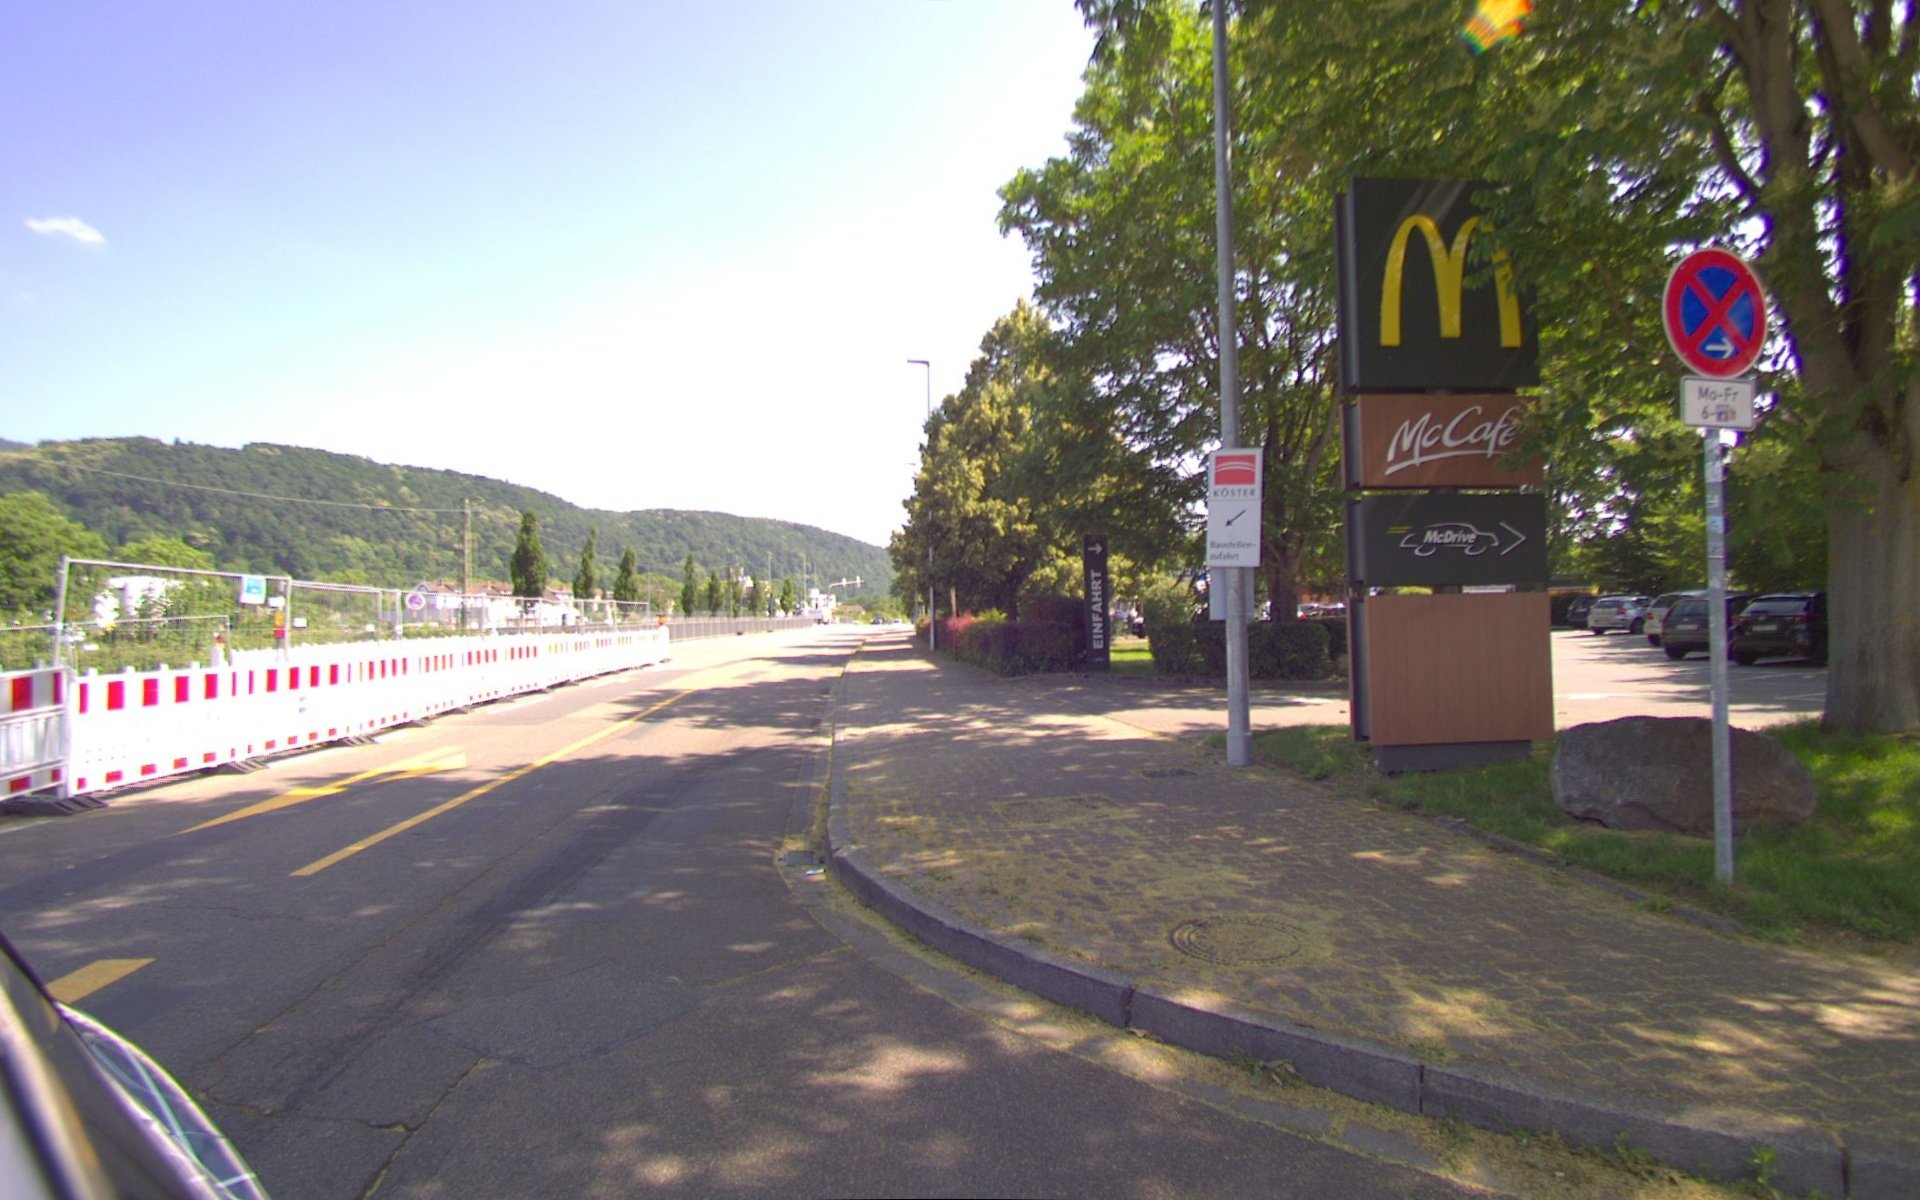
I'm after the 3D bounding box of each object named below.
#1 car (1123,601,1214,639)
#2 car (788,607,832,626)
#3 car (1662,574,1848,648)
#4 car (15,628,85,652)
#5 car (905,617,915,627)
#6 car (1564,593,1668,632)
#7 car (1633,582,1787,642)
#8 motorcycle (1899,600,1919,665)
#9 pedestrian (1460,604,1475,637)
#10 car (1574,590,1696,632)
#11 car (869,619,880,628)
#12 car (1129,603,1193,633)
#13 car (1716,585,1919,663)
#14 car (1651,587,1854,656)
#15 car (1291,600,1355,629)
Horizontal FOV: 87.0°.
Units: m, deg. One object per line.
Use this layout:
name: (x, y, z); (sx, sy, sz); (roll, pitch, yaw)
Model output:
car: (10.863, 1.045, 52.725); (4.278, 1.841, 1.754); (-1, -2, -22)
car: (-21.044, 2.297, 141.911); (5.596, 2.362, 2.293); (-4, 1, 26)
car: (20.926, 0.281, 26.686); (3.955, 1.745, 1.807); (-2, -1, -16)
car: (-99.866, 4.369, 111.131); (2.111, 2.117, 5.504); (-6, 0, 8)
car: (-7.875, 3.442, 158.601); (1.587, 1.547, 3.685); (-1, -1, -3)
car: (29.615, 0.545, 45.712); (3.804, 1.588, 1.825); (-2, -1, -16)
car: (22.013, 0.349, 29.725); (3.783, 1.600, 1.648); (-2, -1, -18)
motorcycle: (17.660, 0.547, 18.186); (2.146, 1.124, 0.571); (-2, -1, -32)
pedestrian: (23.052, 0.921, 45.981); (0.512, 1.491, 0.531); (-3, -1, 25)
car: (26.304, 0.425, 39.444); (3.978, 1.461, 1.800); (-2, -1, -18)
car: (-12.811, 3.468, 151.314); (1.587, 1.265, 3.685); (-1, -1, -3)
car: (12.769, 1.176, 64.519); (1.729, 1.812, 4.242); (-2, -1, -25)
car: (17.863, 0.458, 20.661); (4.026, 1.398, 1.775); (-2, -1, -16)
car: (18.452, 0.488, 23.587); (4.002, 1.406, 1.632); (-2, -1, -16)
car: (21.418, 0.872, 59.873); (1.640, 1.644, 3.735); (-2, -1, -16)
